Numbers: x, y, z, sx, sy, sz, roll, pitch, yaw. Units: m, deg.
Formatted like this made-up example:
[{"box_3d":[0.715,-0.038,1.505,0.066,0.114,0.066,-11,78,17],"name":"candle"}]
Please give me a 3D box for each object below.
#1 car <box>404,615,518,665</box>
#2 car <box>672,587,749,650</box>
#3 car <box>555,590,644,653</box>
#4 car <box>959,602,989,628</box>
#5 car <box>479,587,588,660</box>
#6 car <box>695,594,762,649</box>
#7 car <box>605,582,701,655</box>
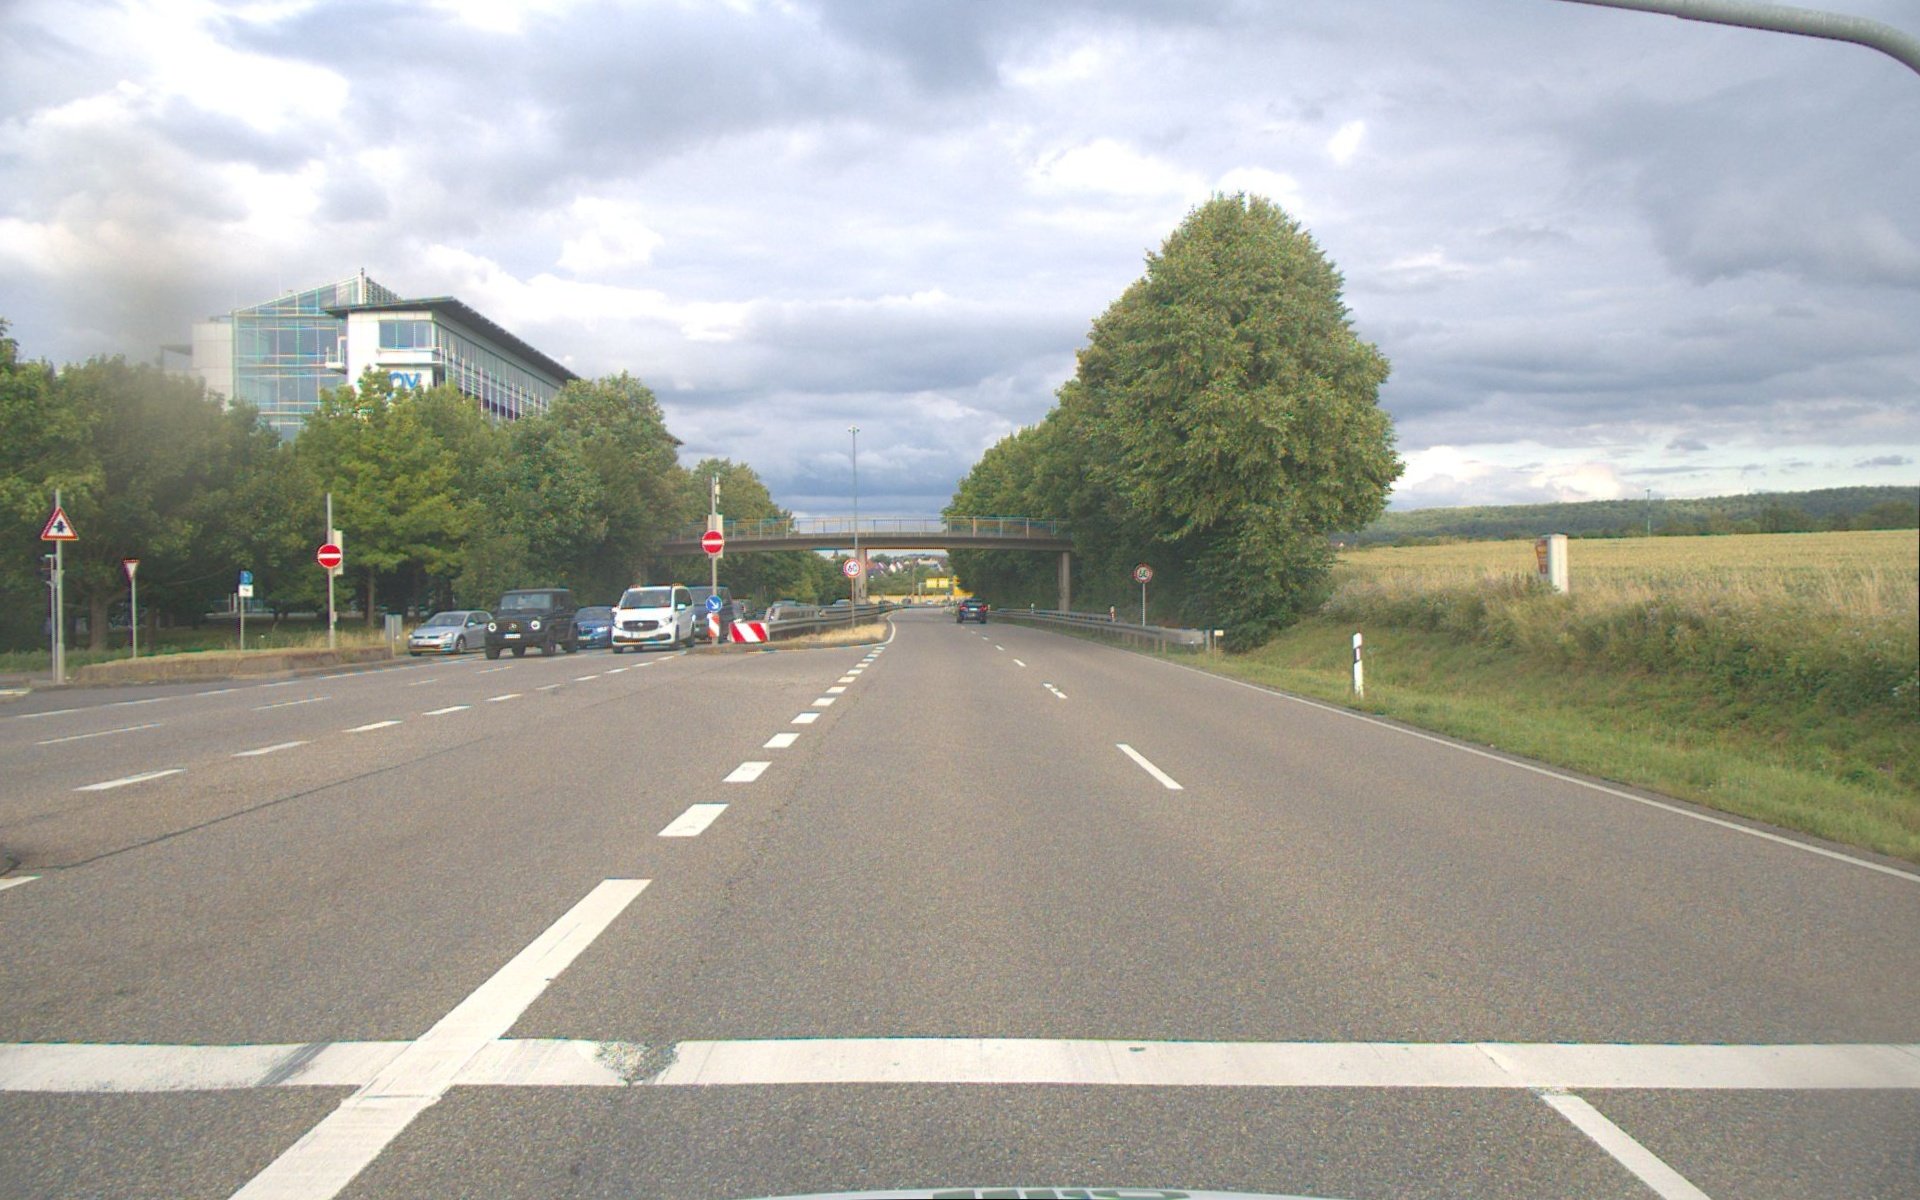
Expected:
[{"box_3d":[-16.808,1.322,55.845,1.549,1.365,3.750,-4,1,24],"name":"car"},{"box_3d":[-8.602,0.633,57.441,2.041,2.049,5.214,1,0,-2],"name":"car"},{"box_3d":[-12.366,0.723,57.034,2.041,2.049,5.214,1,0,-2],"name":"car"},{"box_3d":[0.876,0.969,106.448,1.841,1.579,3.999,1,0,-1],"name":"car"},{"box_3d":[-12.697,0.677,49.529,2.041,2.049,5.214,1,0,-2],"name":"car"},{"box_3d":[-9.044,0.833,64.998,2.041,2.049,5.214,1,0,-2],"name":"car"},{"box_3d":[-9.137,0.539,49.697,2.041,2.049,5.214,1,0,-2],"name":"car"}]
